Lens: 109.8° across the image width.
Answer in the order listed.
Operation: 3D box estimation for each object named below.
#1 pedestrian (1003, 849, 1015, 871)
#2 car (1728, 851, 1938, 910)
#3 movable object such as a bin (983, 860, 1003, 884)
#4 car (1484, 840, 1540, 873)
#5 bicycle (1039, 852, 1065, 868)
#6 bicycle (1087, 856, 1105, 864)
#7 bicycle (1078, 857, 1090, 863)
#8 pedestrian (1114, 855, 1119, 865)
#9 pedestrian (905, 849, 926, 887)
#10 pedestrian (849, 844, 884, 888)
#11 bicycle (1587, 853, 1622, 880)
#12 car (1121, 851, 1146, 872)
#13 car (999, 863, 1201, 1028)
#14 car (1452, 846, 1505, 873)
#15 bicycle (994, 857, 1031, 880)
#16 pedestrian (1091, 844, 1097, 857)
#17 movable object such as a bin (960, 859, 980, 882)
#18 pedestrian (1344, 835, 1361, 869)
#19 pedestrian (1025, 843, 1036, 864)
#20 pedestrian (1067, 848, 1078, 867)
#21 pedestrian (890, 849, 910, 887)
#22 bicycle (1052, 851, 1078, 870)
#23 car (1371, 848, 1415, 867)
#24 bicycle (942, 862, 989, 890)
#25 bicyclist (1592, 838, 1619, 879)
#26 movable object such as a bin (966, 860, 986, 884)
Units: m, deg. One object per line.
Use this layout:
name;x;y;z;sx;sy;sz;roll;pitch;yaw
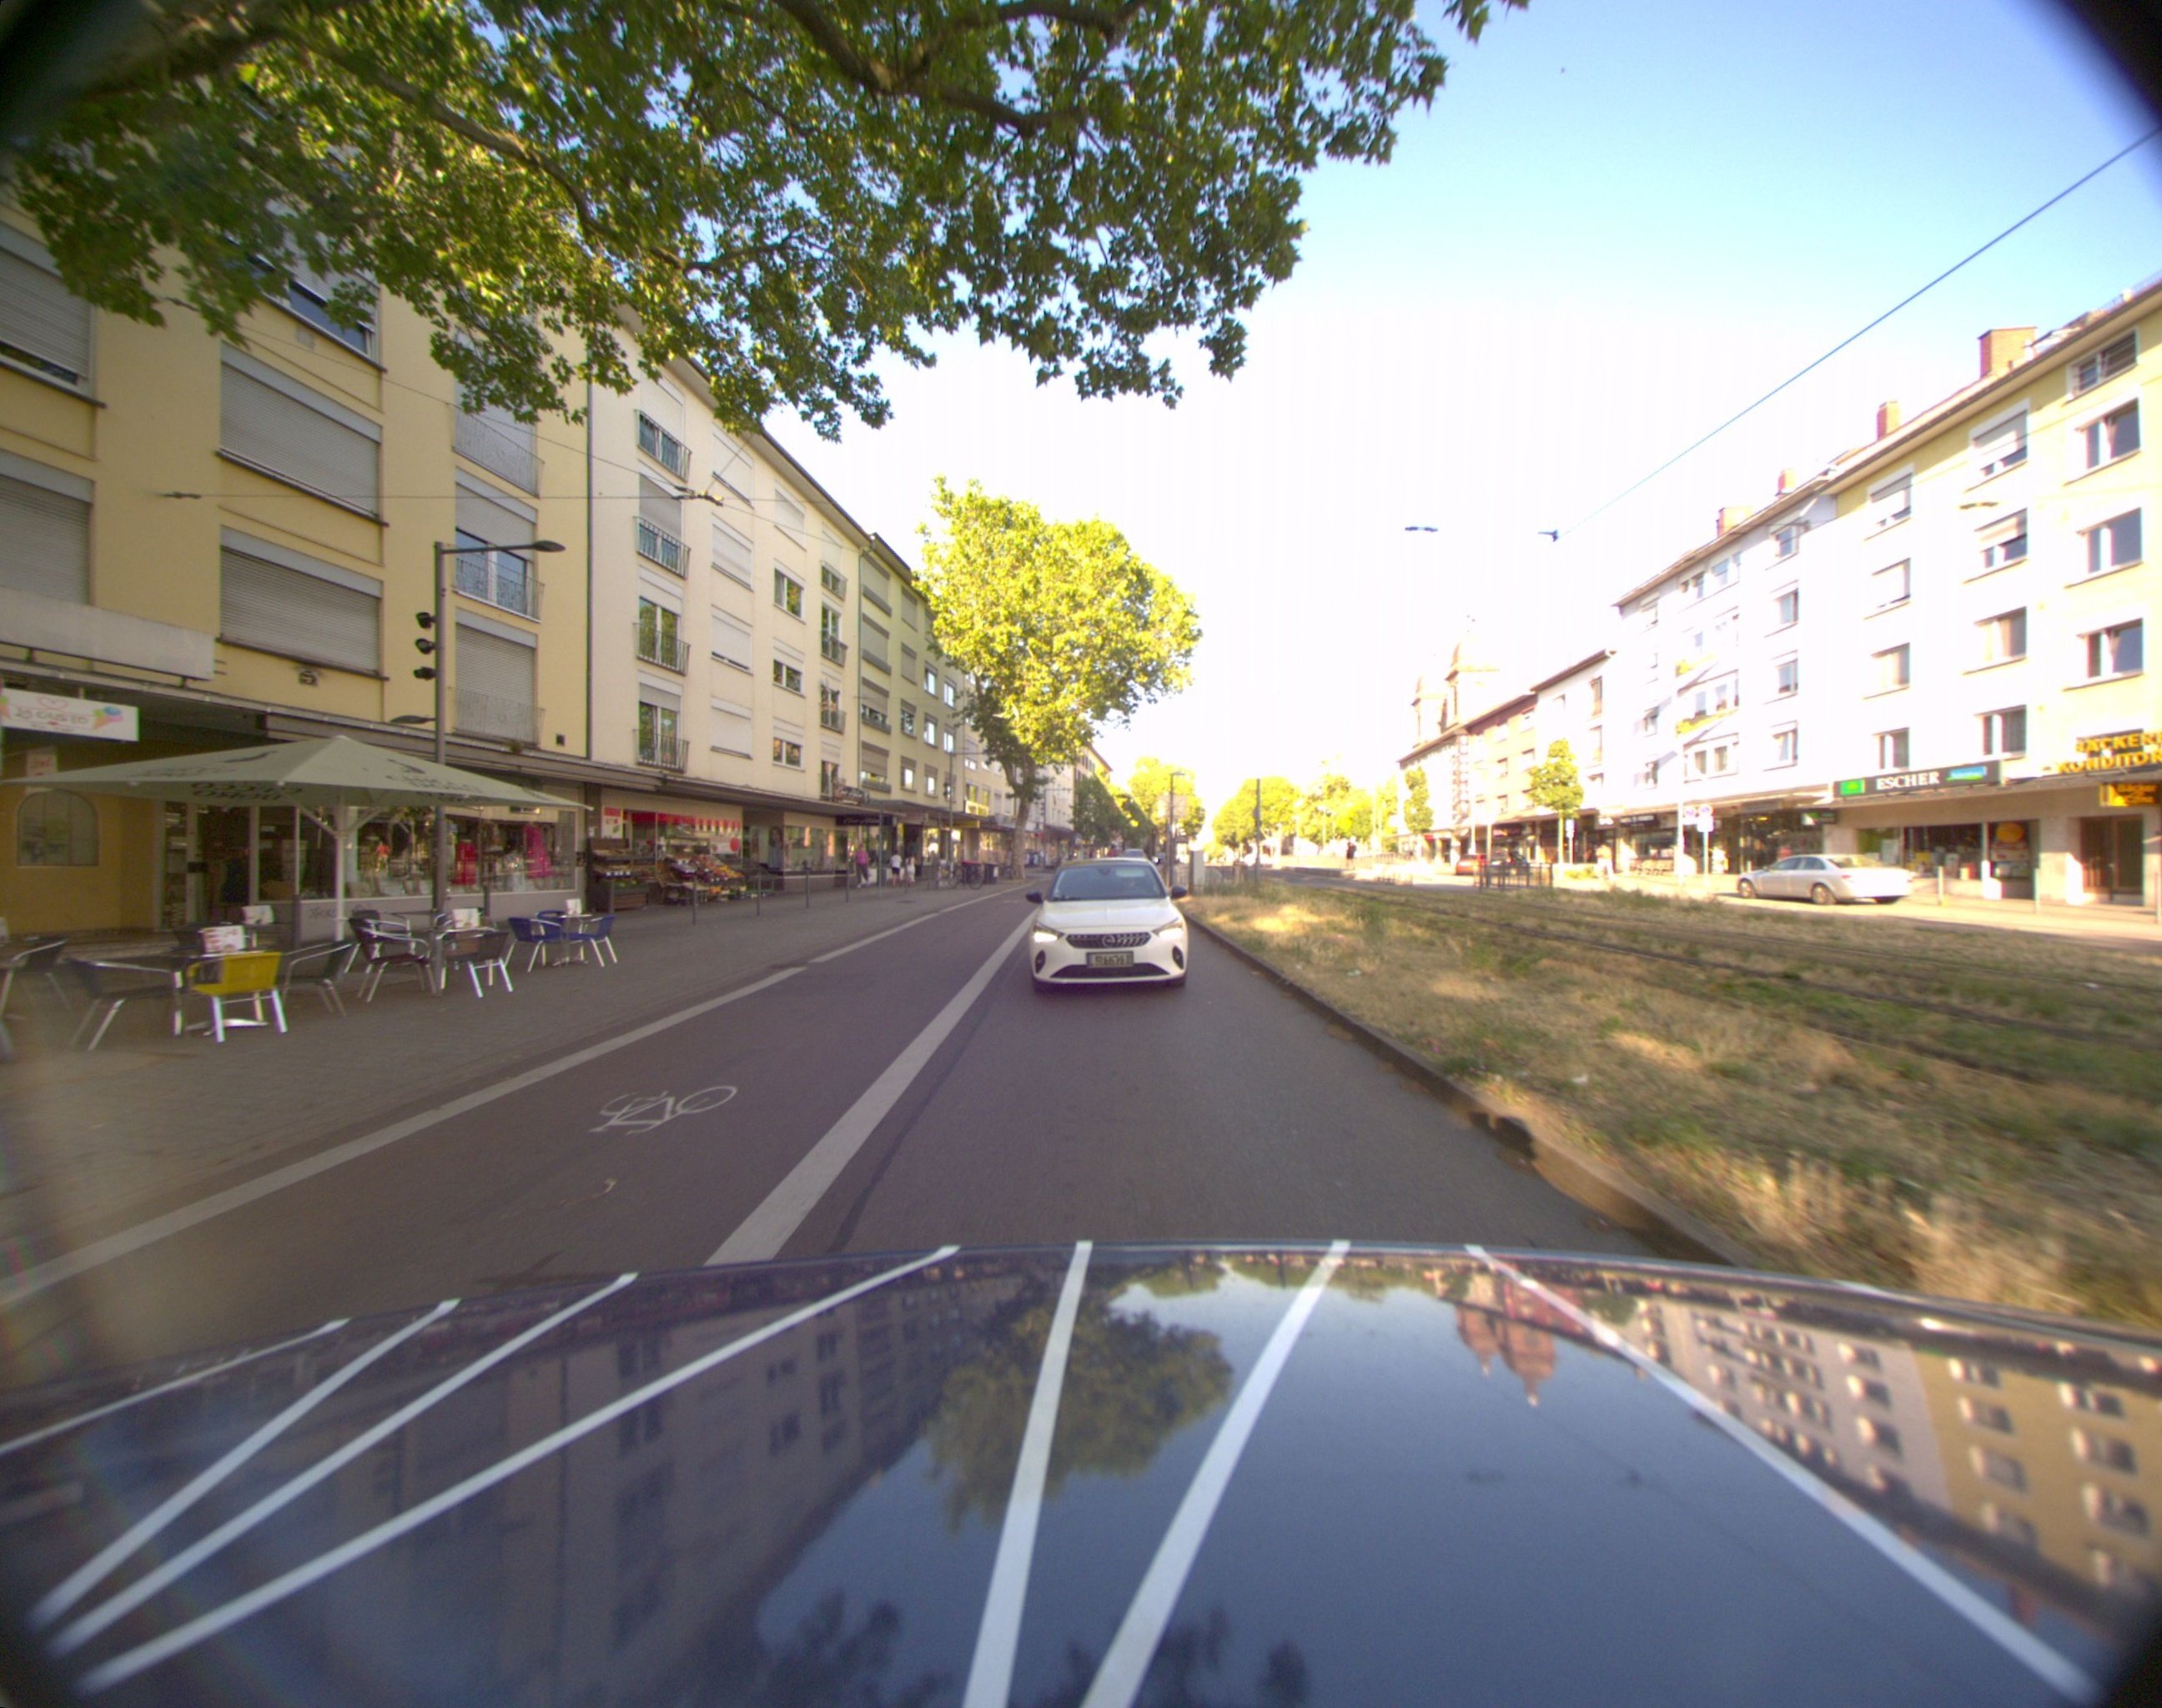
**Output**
pedestrian;-4.799;0.402;50.760;0.541;1.493;0.896;2;0;8
car;21.780;0.694;22.325;1.998;1.469;4.412;-2;0;5
movable object such as a bin;-4.241;0.843;36.586;0.723;1.096;0.645;4;2;14
car;25.835;0.131;45.466;3.777;1.789;1.859;-3;1;-44
bicycle;-2.230;0.462;58.913;1.795;1.118;0.663;4;1;-19
bicycle;1.537;0.591;78.984;1.762;0.773;0.702;1;0;-14
bicycle;0.283;0.596;79.186;0.840;0.569;1.758;1;0;-14
pedestrian;6.078;0.969;129.856;0.851;1.645;0.916;-2;1;8
pedestrian;-7.065;0.602;32.471;0.636;1.577;0.627;2;1;7
pedestrian;-8.885;0.477;31.505;0.969;1.753;1.134;1;2;9
bicycle;25.214;0.575;36.613;0.706;1.152;2.200;-3;2;17
car;3.875;0.548;55.965;1.718;1.390;4.001;-2;0;4
car;0.222;0.881;9.042;1.826;1.433;3.828;-3;0;1
car;25.440;0.352;48.557;3.777;1.482;1.859;-3;1;-44
bicycle;-3.489;0.713;38.877;1.721;1.111;0.745;0;4;8
pedestrian;1.485;-0.390;87.861;0.490;1.559;0.649;2;1;10
movable object such as a bin;-5.452;0.802;37.378;0.722;1.066;0.645;2;2;26
pedestrian;14.998;-0.117;42.036;0.743;1.838;0.590;0;1;2
pedestrian;-4.169;-0.028;62.868;0.569;1.665;1.070;2;1;9
pedestrian;-0.831;0.297;73.960;0.774;1.789;0.931;3;1;10
pedestrian;-7.731;0.604;32.515;0.623;1.577;0.627;2;1;7
bicycle;-1.206;0.493;57.835;1.788;1.304;0.695;6;2;20
car;28.401;0.330;69.093;4.007;1.521;1.865;-2;1;-37
bicycle;-4.972;0.919;32.658;1.909;1.098;0.519;2;1;14
bicyclist;25.101;0.223;36.385;0.693;1.876;1.058;-4;2;17
movable object such as a bin;-5.054;0.866;36.558;0.723;1.066;0.644;5;2;6
